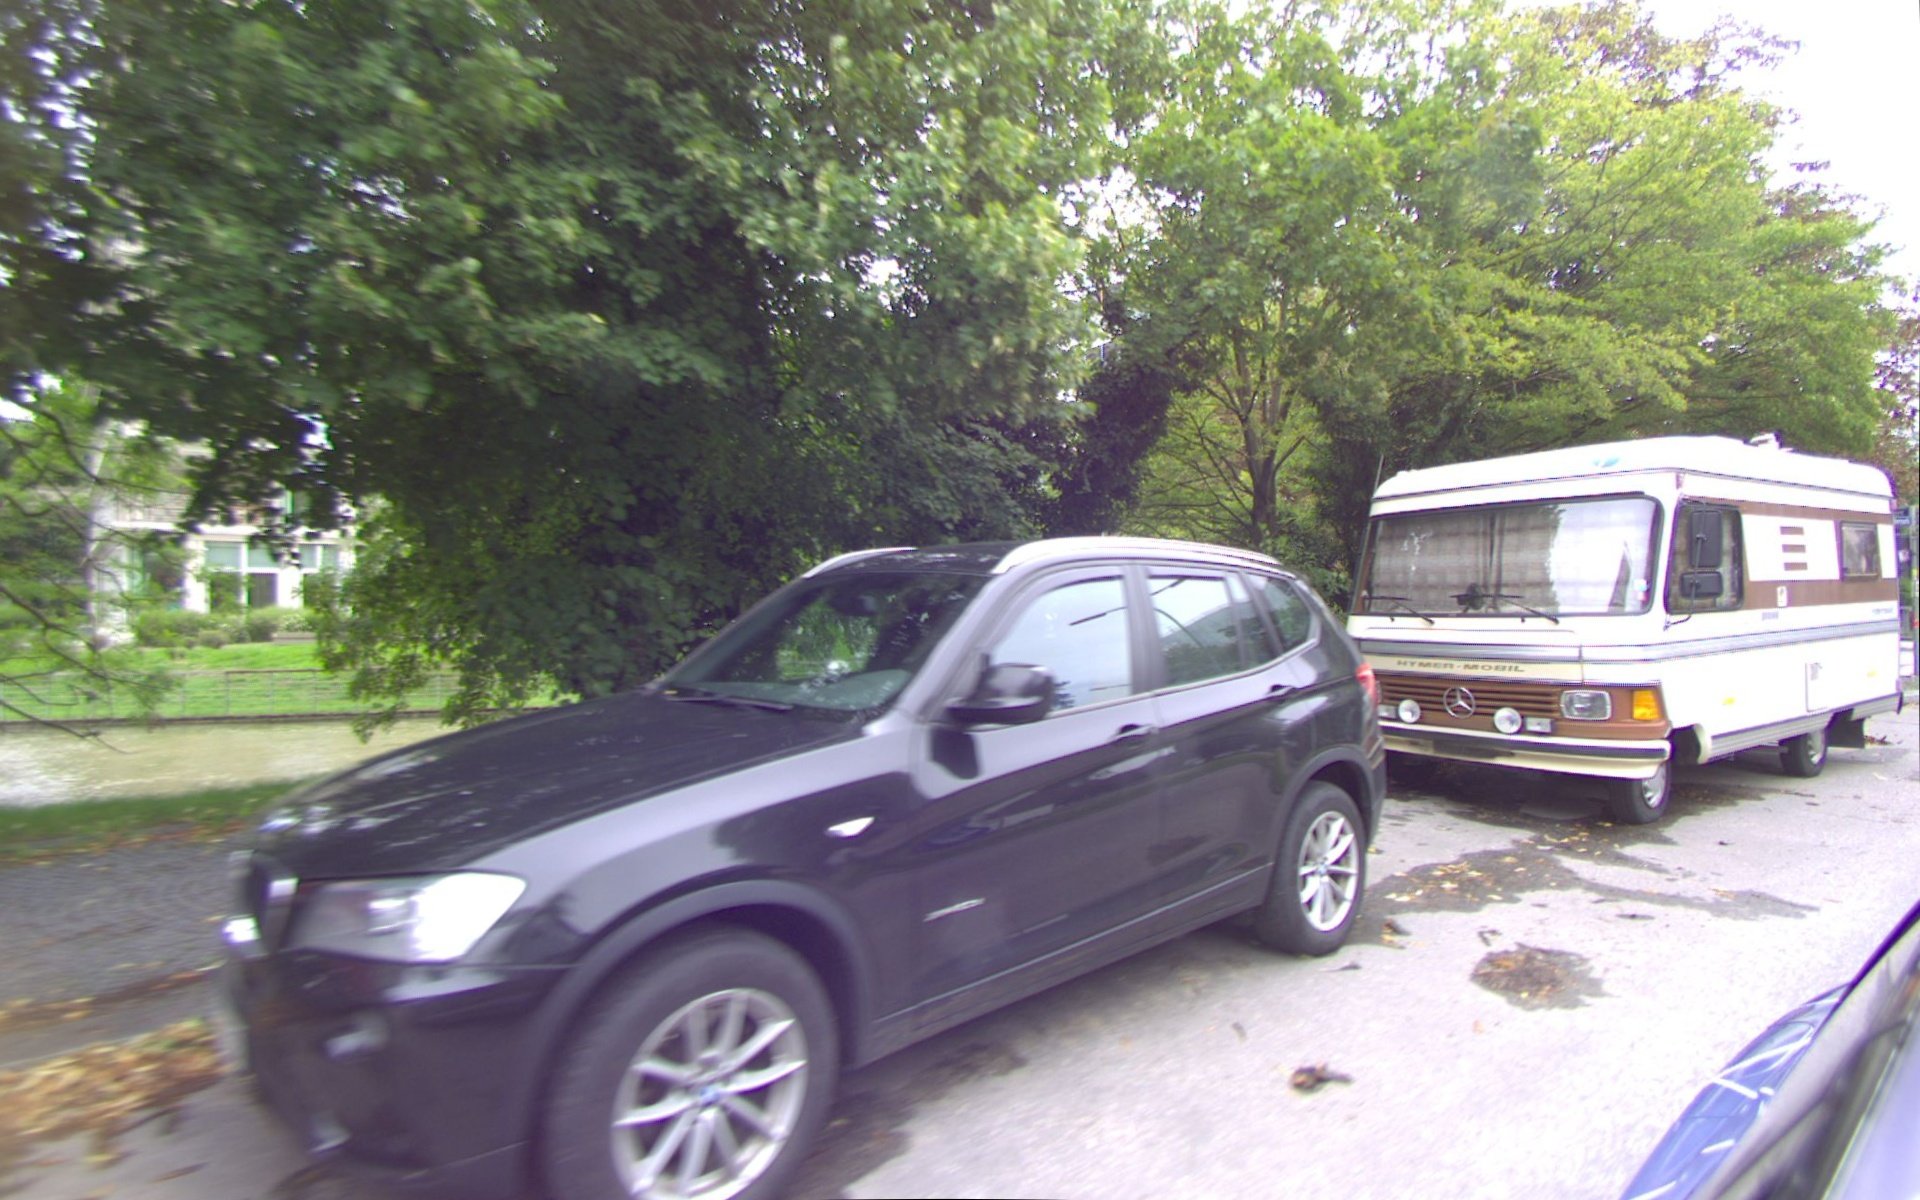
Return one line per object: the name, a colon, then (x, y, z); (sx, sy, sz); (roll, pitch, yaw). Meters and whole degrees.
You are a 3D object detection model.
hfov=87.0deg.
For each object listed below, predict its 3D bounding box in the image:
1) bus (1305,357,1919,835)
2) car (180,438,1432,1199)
bus: (5.601, -0.032, 8.326); (5.623, 2.733, 2.323); (0, 0, -34)
car: (-0.097, 0.562, 3.787); (4.382, 1.670, 1.779); (0, 0, -41)
